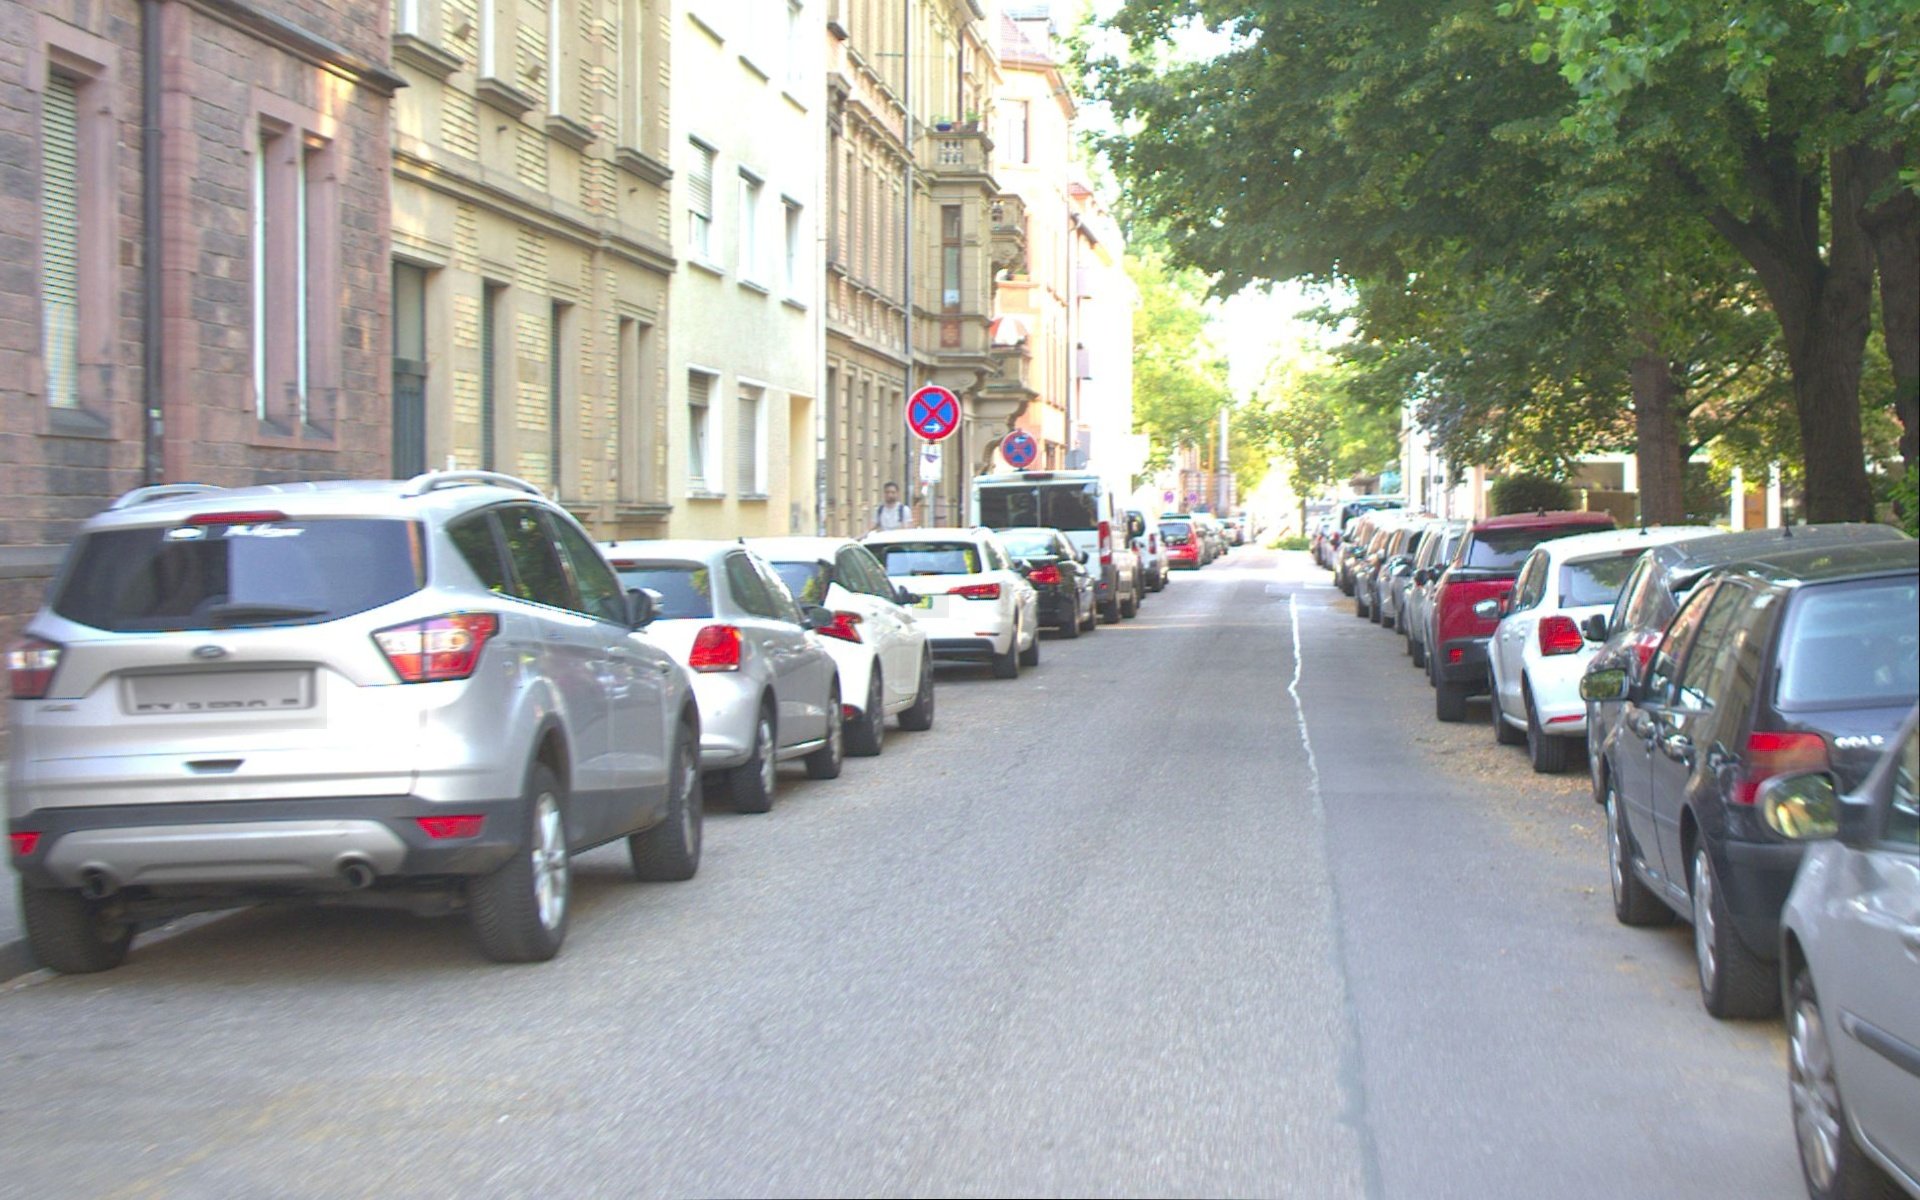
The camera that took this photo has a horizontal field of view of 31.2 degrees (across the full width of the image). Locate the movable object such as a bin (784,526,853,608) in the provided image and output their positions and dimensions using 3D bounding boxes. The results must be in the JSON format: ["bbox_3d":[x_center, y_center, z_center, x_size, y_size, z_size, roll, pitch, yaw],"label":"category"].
[{"bbox_3d":[-1.898,-0.440,46.050,0.801,1.084,0.666,0,0,10],"label":"movable object such as a bin"}]

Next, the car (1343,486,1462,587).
[{"bbox_3d":[7.888,-1.126,61.564,1.619,1.619,3.864,-5,1,2],"label":"car"}]

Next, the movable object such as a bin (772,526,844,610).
[{"bbox_3d":[-1.998,-0.422,45.309,0.836,1.084,0.674,0,0,9],"label":"movable object such as a bin"}]

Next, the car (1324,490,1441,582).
[{"bbox_3d":[8.182,-1.230,66.815,1.739,1.597,4.264,-5,1,2],"label":"car"}]

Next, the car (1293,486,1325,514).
[{"bbox_3d":[19.274,-5.517,190.057,1.676,1.482,3.637,-2,2,5],"label":"car"}]

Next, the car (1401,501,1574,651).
[{"bbox_3d":[5.618,-0.280,36.930,1.599,1.465,3.868,-2,1,6],"label":"car"}]

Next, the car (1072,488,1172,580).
[{"bbox_3d":[3.407,-1.396,71.682,1.831,1.805,4.571,-2,2,5],"label":"car"}]

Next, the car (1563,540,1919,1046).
[{"bbox_3d":[3.128,0.525,11.907,1.621,1.431,4.003,-1,1,4],"label":"car"}]

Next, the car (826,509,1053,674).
[{"bbox_3d":[-0.131,-0.138,33.834,1.731,1.451,4.521,-2,2,6],"label":"car"}]

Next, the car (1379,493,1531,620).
[{"bbox_3d":[6.542,-0.586,45.745,1.599,1.500,3.628,-5,1,4],"label":"car"}]

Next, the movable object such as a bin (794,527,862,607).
[{"bbox_3d":[-1.795,-0.447,46.760,0.801,1.084,0.666,0,0,10],"label":"movable object such as a bin"}]

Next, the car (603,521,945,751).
[{"bbox_3d":[-1.197,0.195,23.823,1.709,1.412,3.802,-2,1,7],"label":"car"}]

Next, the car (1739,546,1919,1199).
[{"bbox_3d":[2.592,0.654,6.253,1.709,1.515,3.831,-1,1,4],"label":"car"}]

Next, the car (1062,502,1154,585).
[{"bbox_3d":[2.894,-1.121,66.890,1.693,1.509,3.973,-2,2,3],"label":"car"}]

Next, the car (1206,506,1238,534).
[{"bbox_3d":[14.407,-4.394,188.876,1.676,1.482,4.094,-2,2,5],"label":"car"}]

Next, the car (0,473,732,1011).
[{"bbox_3d":[-2.121,0.420,13.062,1.709,1.668,4.277,-2,1,7],"label":"car"}]

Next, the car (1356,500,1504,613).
[{"bbox_3d":[6.785,-0.642,50.038,1.675,1.436,4.695,-5,1,3],"label":"car"}]

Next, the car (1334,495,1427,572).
[{"bbox_3d":[8.764,-1.404,71.910,1.719,1.565,3.828,0,2,4],"label":"car"}]

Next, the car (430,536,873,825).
[{"bbox_3d":[-1.621,0.378,19.363,1.709,1.412,3.802,-2,1,7],"label":"car"}]

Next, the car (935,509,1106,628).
[{"bbox_3d":[0.836,-0.437,44.586,1.731,1.397,4.314,-2,2,7],"label":"car"}]

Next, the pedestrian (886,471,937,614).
[{"bbox_3d":[-0.619,-0.741,43.993,0.488,1.797,1.115,3,2,4],"label":"pedestrian"}]

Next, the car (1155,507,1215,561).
[{"bbox_3d":[6.606,-1.943,100.575,1.628,1.476,3.600,-2,2,5],"label":"car"}]

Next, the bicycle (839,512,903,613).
[{"bbox_3d":[-1.135,-0.492,44.080,0.570,1.239,1.844,3,2,5],"label":"bicycle"}]

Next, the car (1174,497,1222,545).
[{"bbox_3d":[9.340,-3.115,134.863,1.765,1.779,4.039,-2,1,5],"label":"car"}]

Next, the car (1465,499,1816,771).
[{"bbox_3d":[4.387,0.185,22.678,1.664,1.514,3.951,-5,1,4],"label":"car"}]

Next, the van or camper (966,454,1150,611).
[{"bbox_3d":[1.514,-1.020,50.904,2.177,2.140,5.153,-2,2,7],"label":"van or camper"}]

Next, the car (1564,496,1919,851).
[{"bbox_3d":[4.124,0.289,17.643,1.664,1.514,4.059,-5,1,7],"label":"car"}]

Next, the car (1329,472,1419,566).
[{"bbox_3d":[9.367,-1.842,77.546,1.915,1.991,4.791,-2,2,8],"label":"car"}]

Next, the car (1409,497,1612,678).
[{"bbox_3d":[5.169,-0.147,32.651,1.599,1.500,3.719,-5,1,6],"label":"car"}]

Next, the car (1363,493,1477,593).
[{"bbox_3d":[7.603,-0.949,57.078,1.619,1.481,3.775,-5,1,6],"label":"car"}]

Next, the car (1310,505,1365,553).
[{"bbox_3d":[12.592,-2.384,114.822,1.676,1.501,3.937,-2,2,5],"label":"car"}]

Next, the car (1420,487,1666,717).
[{"bbox_3d":[4.574,-0.024,27.436,1.664,1.580,4.099,-4,1,8],"label":"car"}]

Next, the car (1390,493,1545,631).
[{"bbox_3d":[6.060,-0.469,41.341,1.599,1.463,3.563,-5,1,6],"label":"car"}]
